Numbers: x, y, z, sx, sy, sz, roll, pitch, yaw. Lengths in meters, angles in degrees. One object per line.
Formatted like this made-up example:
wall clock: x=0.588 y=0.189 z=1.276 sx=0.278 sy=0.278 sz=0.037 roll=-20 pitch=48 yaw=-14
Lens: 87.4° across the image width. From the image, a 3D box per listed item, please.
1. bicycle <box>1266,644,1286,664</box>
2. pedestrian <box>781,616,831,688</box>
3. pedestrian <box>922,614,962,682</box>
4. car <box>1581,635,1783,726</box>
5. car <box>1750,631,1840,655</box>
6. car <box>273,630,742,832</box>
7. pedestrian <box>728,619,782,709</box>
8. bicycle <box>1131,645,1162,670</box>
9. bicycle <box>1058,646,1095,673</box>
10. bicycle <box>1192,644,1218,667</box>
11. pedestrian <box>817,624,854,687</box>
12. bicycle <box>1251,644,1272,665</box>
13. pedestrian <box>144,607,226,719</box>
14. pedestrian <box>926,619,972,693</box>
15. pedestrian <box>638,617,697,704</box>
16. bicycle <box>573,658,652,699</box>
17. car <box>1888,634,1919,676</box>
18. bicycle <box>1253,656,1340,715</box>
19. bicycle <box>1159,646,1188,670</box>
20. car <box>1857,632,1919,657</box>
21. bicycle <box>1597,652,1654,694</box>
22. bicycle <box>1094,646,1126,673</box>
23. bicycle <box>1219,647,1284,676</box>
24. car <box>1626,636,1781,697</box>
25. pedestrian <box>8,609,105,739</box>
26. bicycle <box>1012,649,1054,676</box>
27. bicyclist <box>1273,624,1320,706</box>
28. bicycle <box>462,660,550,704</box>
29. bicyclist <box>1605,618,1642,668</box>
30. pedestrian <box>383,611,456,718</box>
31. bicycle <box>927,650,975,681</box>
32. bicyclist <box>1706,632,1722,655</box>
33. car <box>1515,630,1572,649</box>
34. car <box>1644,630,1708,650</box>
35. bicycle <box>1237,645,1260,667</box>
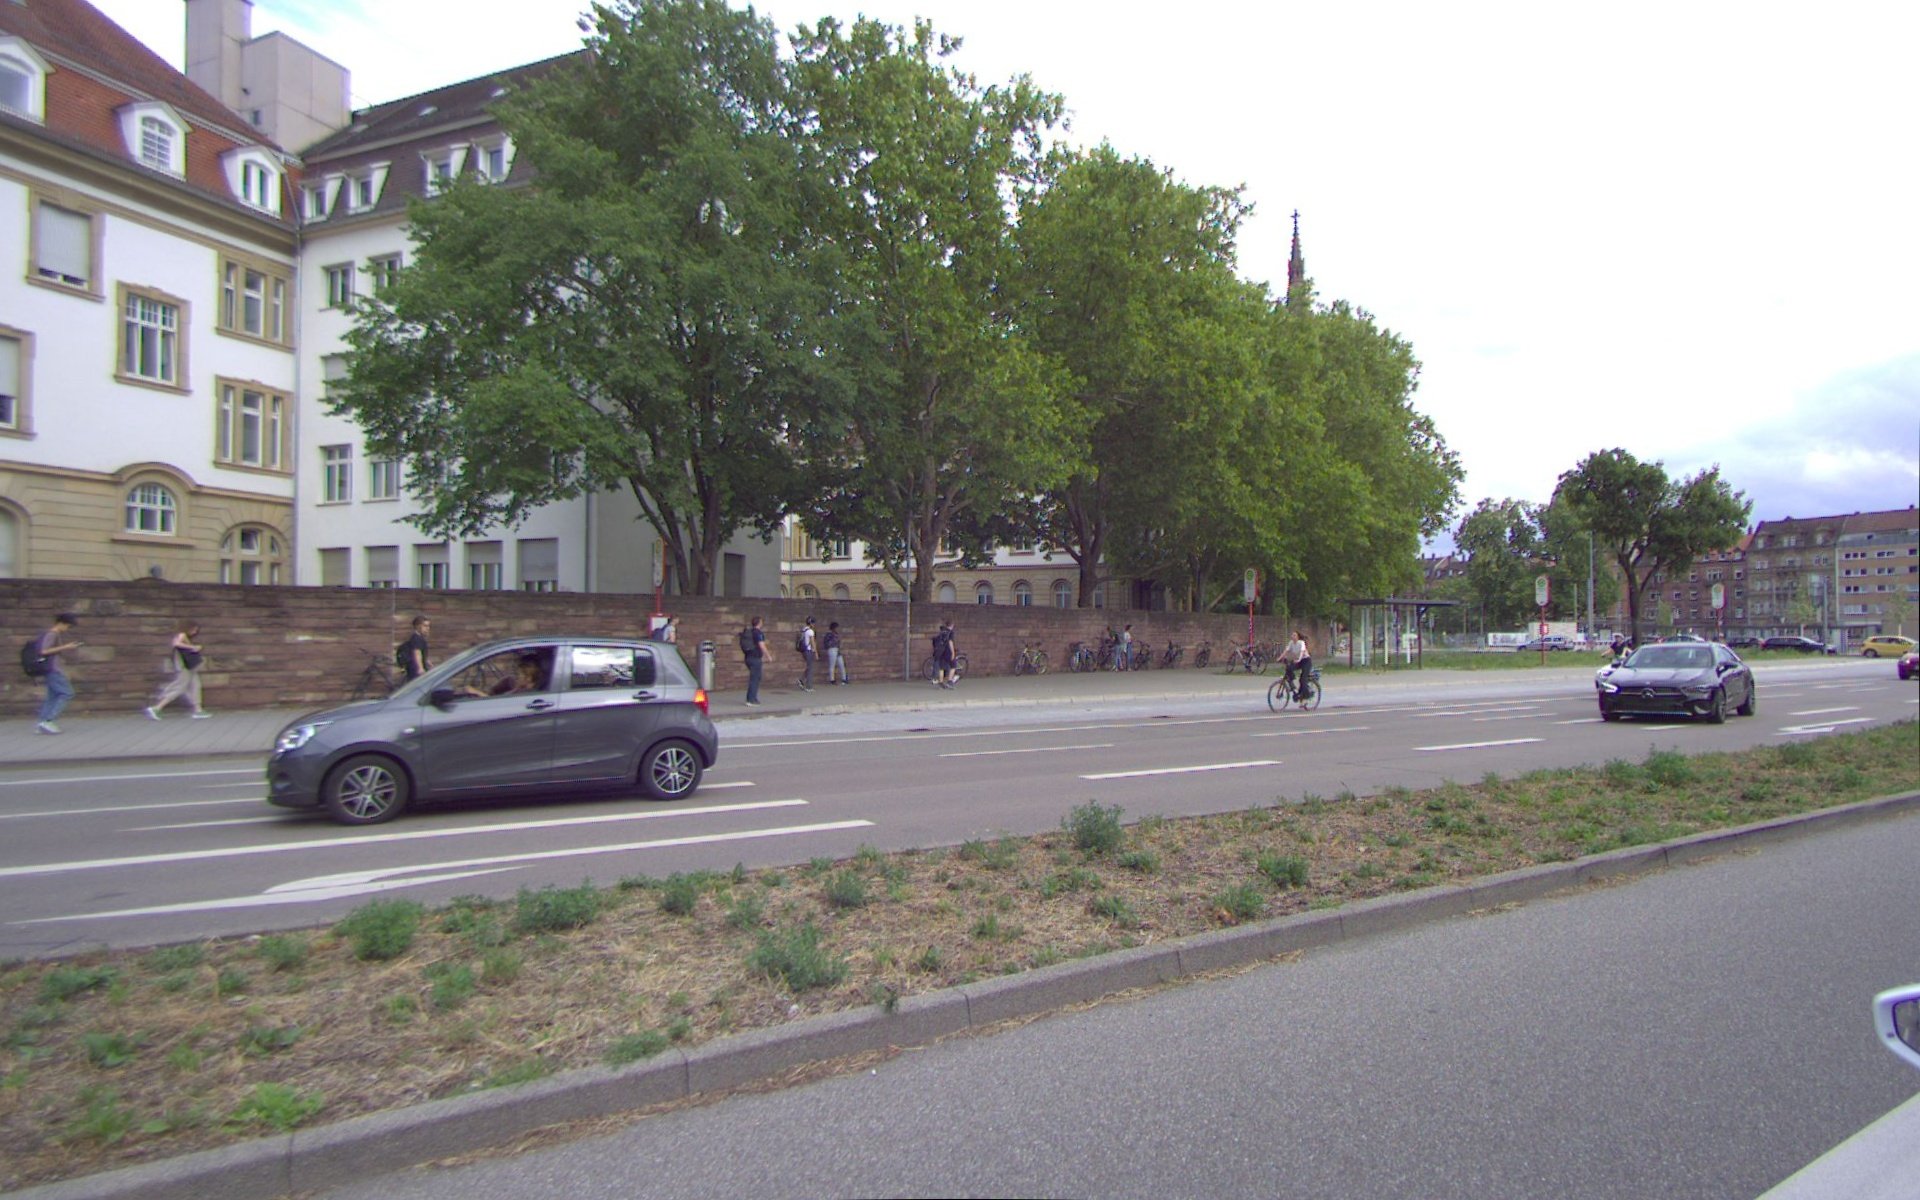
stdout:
bicycle: x=15.532 y=2.639 z=49.324 sx=0.474 sy=0.919 sz=1.616 roll=2 pitch=0 yaw=35
pedestrian: x=-3.692 y=1.245 z=24.132 sx=0.748 sy=1.693 sz=0.922 roll=0 pitch=-3 yaw=30
pedestrian: x=-0.485 y=1.313 z=27.454 sx=0.748 sy=1.805 sz=0.782 roll=0 pitch=-3 yaw=31
car: x=13.604 y=1.414 z=18.855 sx=4.362 sy=1.509 sz=1.790 roll=1 pitch=-2 yaw=-36
car: x=58.755 y=2.976 z=70.752 sx=1.644 sy=1.495 sz=4.637 roll=1 pitch=-1 yaw=-36
car: x=-3.957 y=1.039 z=9.113 sx=3.593 sy=1.508 sz=1.565 roll=1 pitch=-3 yaw=-30
pedestrian: x=-4.205 y=1.299 z=20.595 sx=0.749 sy=1.805 sz=0.719 roll=0 pitch=-3 yaw=36
bicycle: x=6.999 y=2.153 z=37.634 sx=0.435 sy=0.890 sz=1.614 roll=2 pitch=0 yaw=38
bicycle: x=3.964 y=2.010 z=34.175 sx=0.411 sy=0.890 sz=1.548 roll=2 pitch=0 yaw=41
bicycle: x=10.234 y=2.304 z=41.930 sx=0.474 sy=0.919 sz=1.615 roll=-1 pitch=-2 yaw=36
pedestrian: x=-3.250 y=1.438 z=26.188 sx=0.578 sy=1.613 sz=0.733 roll=0 pitch=-3 yaw=36
bicycle: x=14.343 y=2.590 z=47.715 sx=0.474 sy=0.919 sz=1.616 roll=2 pitch=0 yaw=35
pedestrian: x=-12.911 y=1.037 z=16.743 sx=0.747 sy=1.805 sz=0.783 roll=0 pitch=-2 yaw=28
pedestrian: x=-0.277 y=1.394 z=25.205 sx=0.748 sy=1.805 sz=0.922 roll=0 pitch=-3 yaw=30
pedestrian: x=-6.317 y=1.297 z=21.702 sx=0.748 sy=1.805 sz=0.913 roll=0 pitch=-3 yaw=30
bicycle: x=-7.714 y=1.734 z=22.332 sx=1.608 sy=0.807 sz=0.437 roll=0 pitch=1 yaw=-41
car: x=35.802 y=1.986 z=36.695 sx=4.242 sy=1.509 sz=1.792 roll=1 pitch=-2 yaw=-33
bicycle: x=7.607 y=1.906 z=22.655 sx=2.018 sy=1.233 sz=0.616 roll=1 pitch=-2 yaw=-26
bicycle: x=8.375 y=2.270 z=39.369 sx=0.435 sy=0.890 sz=1.614 roll=2 pitch=0 yaw=38
car: x=62.000 y=2.956 z=66.394 sx=1.644 sy=1.537 sz=3.831 roll=1 pitch=-1 yaw=-35
bicycle: x=19.674 y=2.135 z=29.690 sx=1.941 sy=1.186 sz=0.579 roll=1 pitch=-2 yaw=-30
bicycle: x=5.350 y=2.105 z=35.703 sx=0.342 sy=0.890 sz=1.514 roll=2 pitch=0 yaw=41
bicycle: x=9.701 y=2.034 z=33.422 sx=2.306 sy=0.931 sz=0.469 roll=1 pitch=-2 yaw=-24
car: x=19.943 y=1.725 z=26.904 sx=4.365 sy=1.509 sz=1.793 roll=1 pitch=-2 yaw=-31
pedestrian: x=-13.056 y=1.050 z=14.523 sx=0.747 sy=1.805 sz=0.783 roll=0 pitch=-2 yaw=29
bicycle: x=2.358 y=2.001 z=32.351 sx=0.436 sy=0.838 sz=1.612 roll=2 pitch=0 yaw=41
bicyclist: x=7.577 y=1.451 z=22.650 sx=0.800 sy=1.806 sz=0.616 roll=1 pitch=-2 yaw=-26
bicycle: x=-9.422 y=1.693 z=20.872 sx=1.608 sy=0.807 sz=0.437 roll=0 pitch=1 yaw=-41
bicyclist: x=19.569 y=1.256 z=29.620 sx=0.801 sy=1.437 sz=0.578 roll=1 pitch=-2 yaw=-28
pedestrian: x=-9.395 y=1.106 z=17.464 sx=0.748 sy=1.805 sz=0.782 roll=0 pitch=-3 yaw=31
bicycle: x=-0.261 y=1.907 z=29.481 sx=0.436 sy=0.838 sz=1.612 roll=2 pitch=0 yaw=41
bicyclist: x=54.373 y=3.134 z=72.423 sx=0.567 sy=1.665 sz=0.781 roll=1 pitch=-2 yaw=-36
car: x=52.185 y=3.542 z=89.875 sx=1.631 sy=1.671 sz=4.125 roll=1 pitch=-2 yaw=-36
car: x=54.658 y=3.054 z=76.711 sx=1.569 sy=1.413 sz=3.737 roll=1 pitch=-1 yaw=-36
bicycle: x=13.186 y=2.539 z=45.850 sx=0.474 sy=0.919 sz=1.616 roll=2 pitch=0 yaw=35
